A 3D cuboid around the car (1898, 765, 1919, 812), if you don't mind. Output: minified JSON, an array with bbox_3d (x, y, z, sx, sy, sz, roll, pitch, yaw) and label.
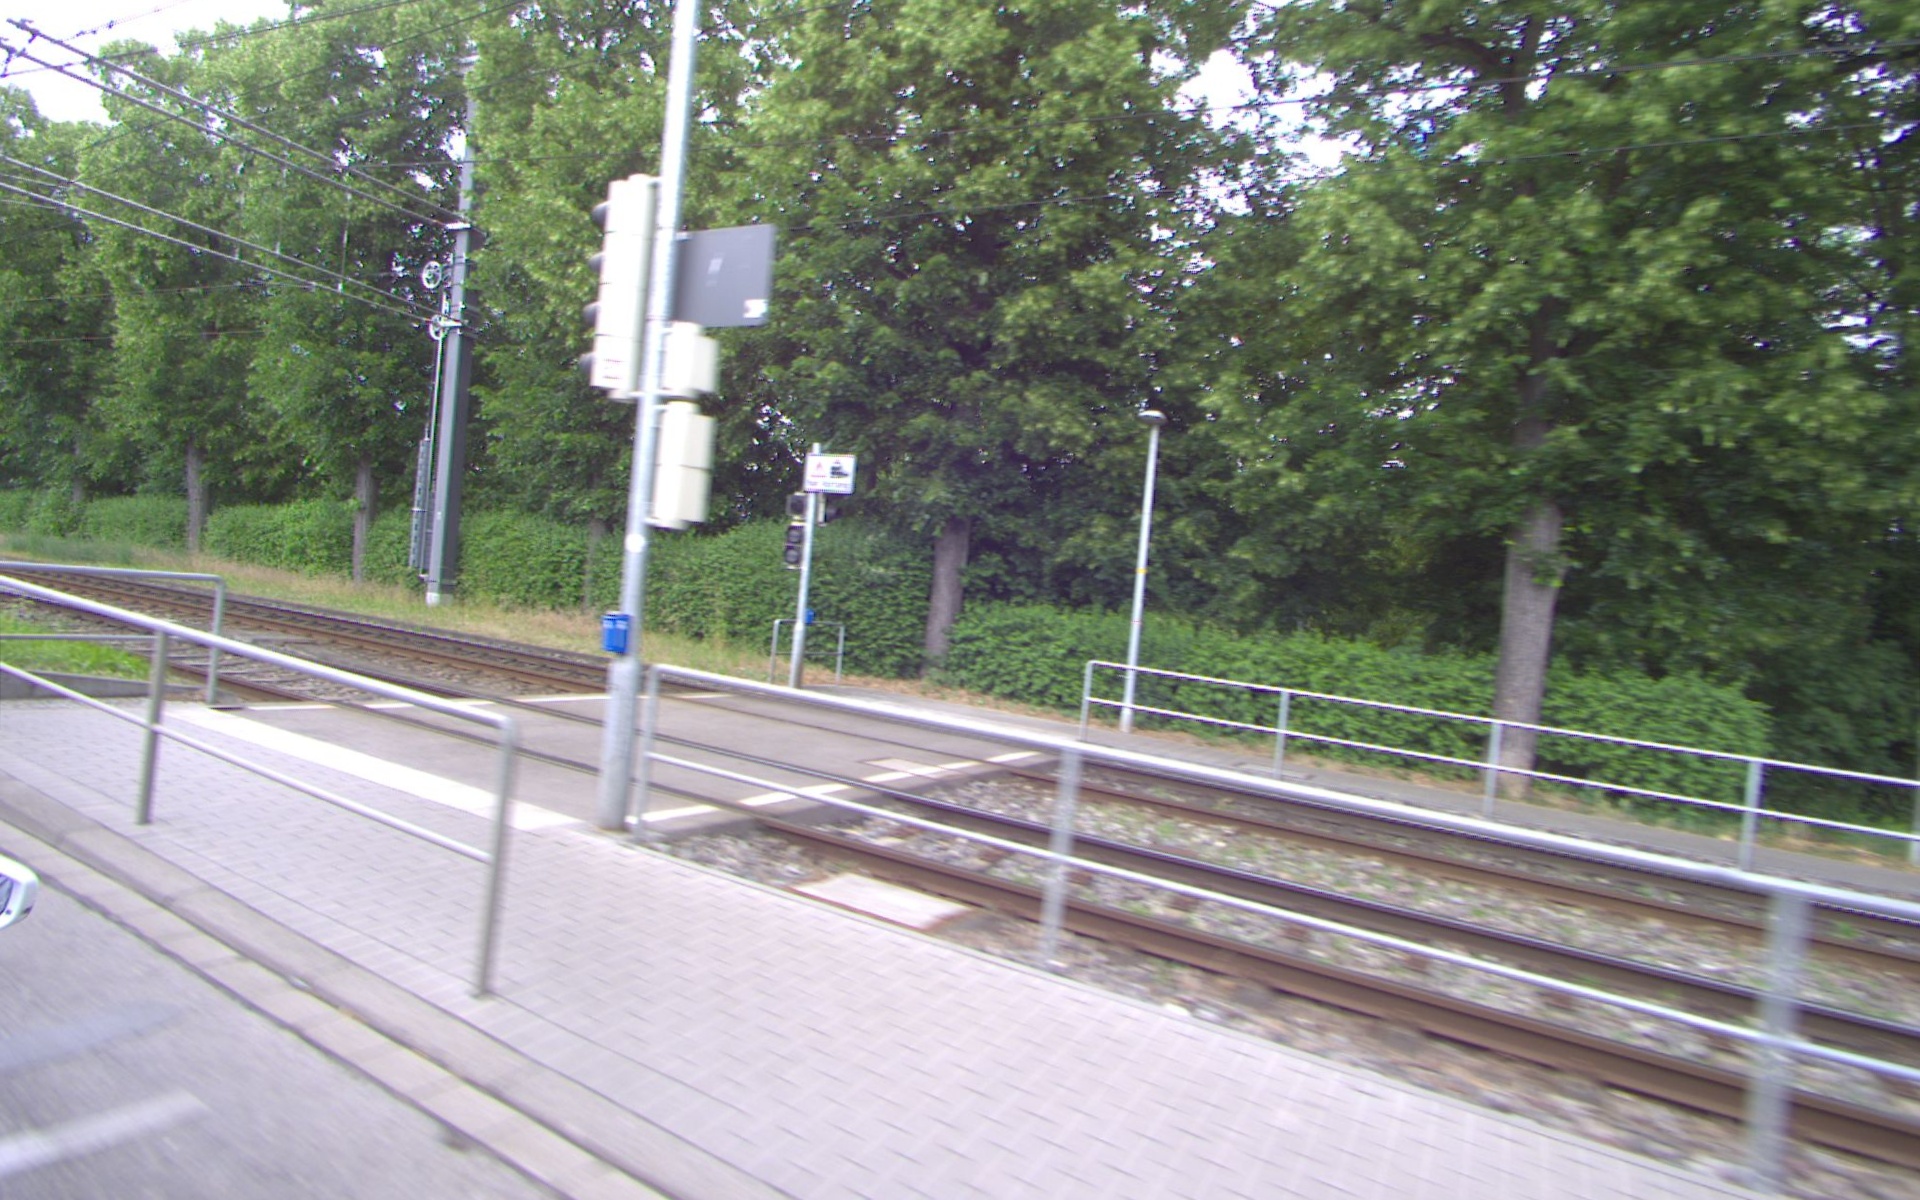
[{"bbox_3d":[40.787,7.975,41.644,1.774,1.848,3.998,7,-3,29],"label":"car"}]
